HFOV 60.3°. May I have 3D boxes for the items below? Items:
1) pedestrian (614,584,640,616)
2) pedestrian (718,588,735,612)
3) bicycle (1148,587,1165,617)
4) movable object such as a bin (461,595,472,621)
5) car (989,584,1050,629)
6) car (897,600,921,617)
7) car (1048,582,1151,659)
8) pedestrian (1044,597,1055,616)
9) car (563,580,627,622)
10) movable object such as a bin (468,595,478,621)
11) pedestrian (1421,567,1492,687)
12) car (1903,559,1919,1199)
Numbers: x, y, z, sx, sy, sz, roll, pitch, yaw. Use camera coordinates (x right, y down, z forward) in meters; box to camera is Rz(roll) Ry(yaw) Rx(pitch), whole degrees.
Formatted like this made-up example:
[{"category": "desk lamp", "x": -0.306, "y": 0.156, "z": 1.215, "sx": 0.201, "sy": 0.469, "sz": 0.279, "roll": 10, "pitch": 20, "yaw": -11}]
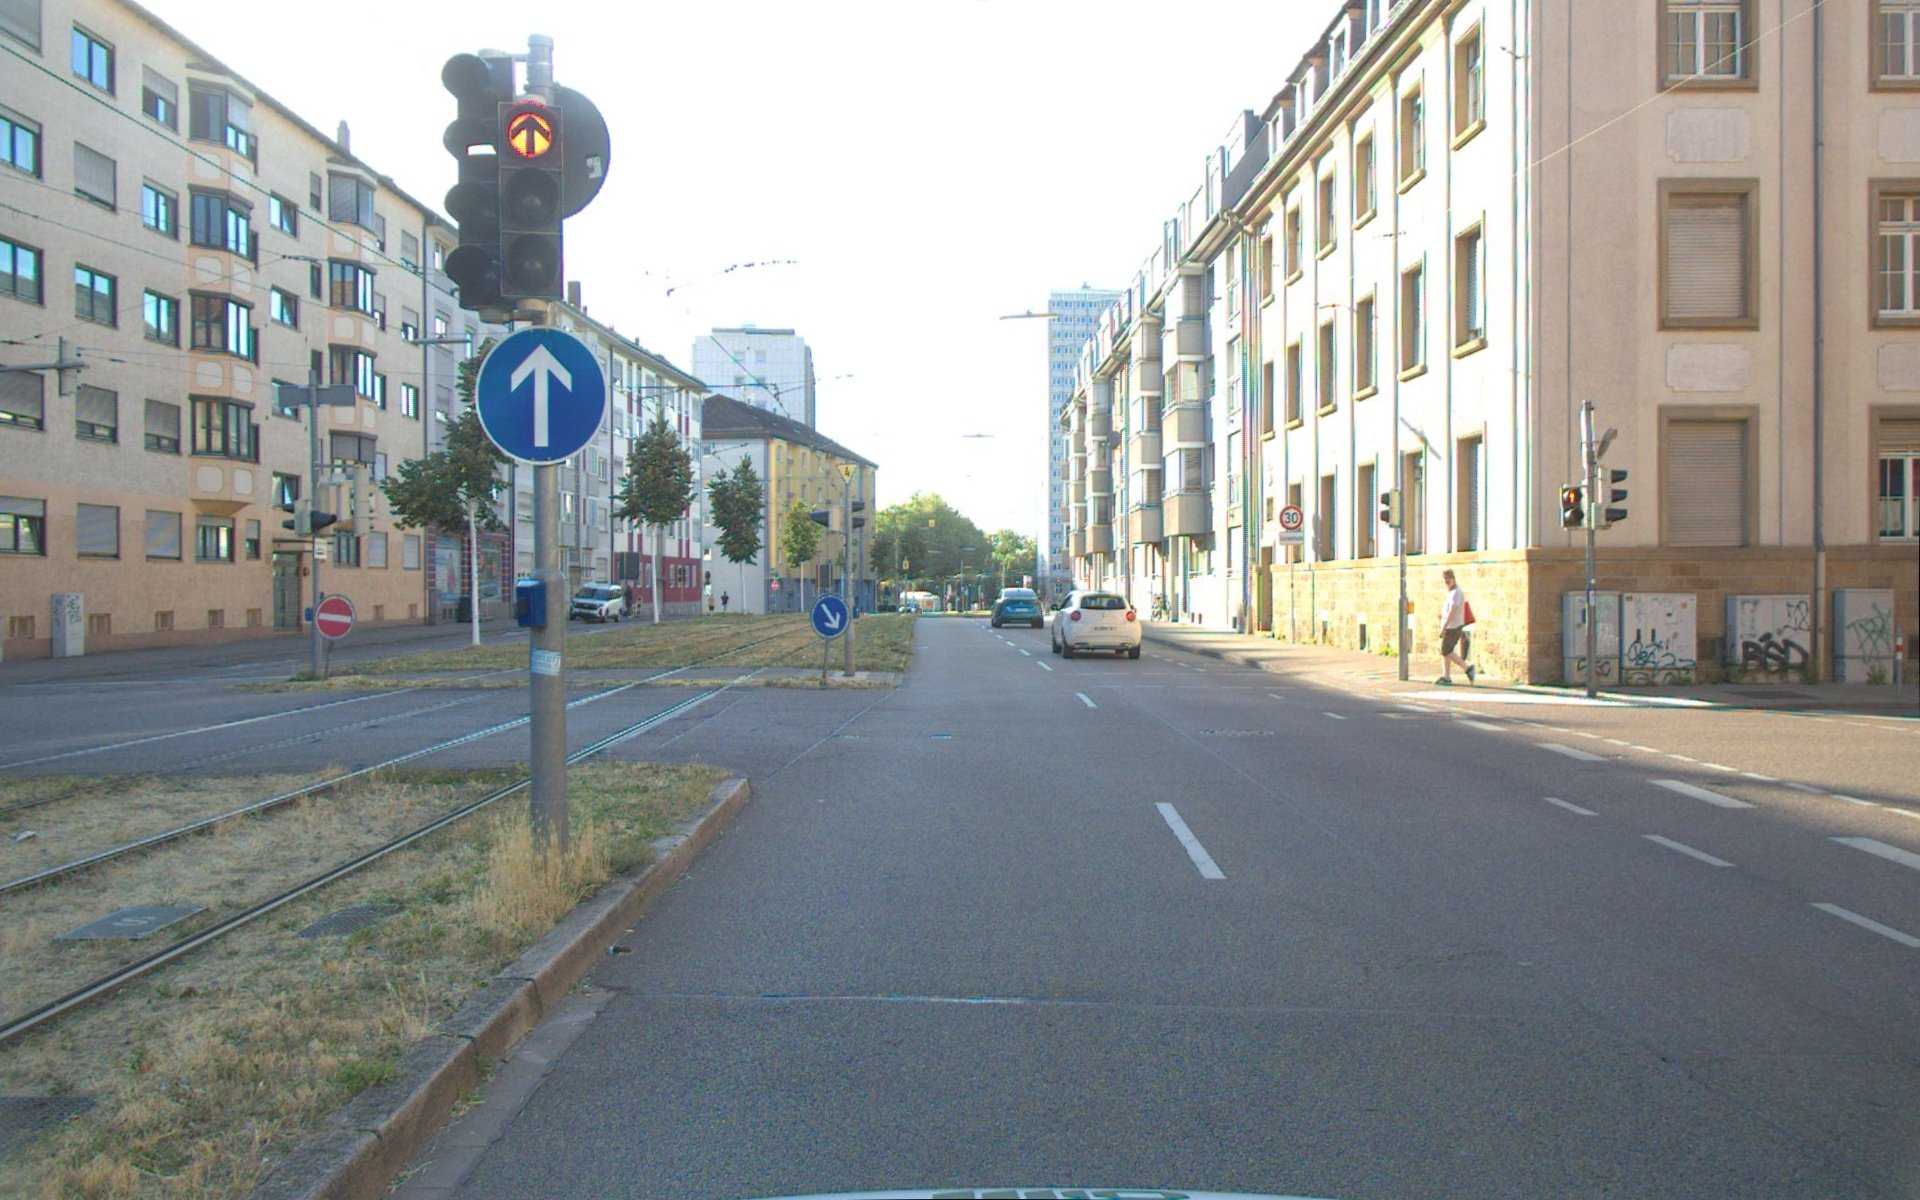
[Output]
[{"category": "pedestrian", "x": -18.746, "y": 0.011, "z": 93.156, "sx": 1.244, "sy": 1.791, "sz": 1.273, "roll": 1, "pitch": 0, "yaw": -4}, {"category": "pedestrian", "x": -16.691, "y": -0.003, "z": 118.178, "sx": 0.942, "sy": 1.699, "sz": 1.011, "roll": 1, "pitch": 0, "yaw": 4}, {"category": "bicycle", "x": 7.359, "y": 0.088, "z": 61.950, "sx": 0.376, "sy": 1.115, "sz": 1.503, "roll": -1, "pitch": 0, "yaw": -3}, {"category": "movable object such as a bin", "x": -20.266, "y": 0.339, "z": 67.947, "sx": 0.292, "sy": 1.054, "sz": 0.441, "roll": 1, "pitch": -1, "yaw": 1}, {"category": "car", "x": 2.168, "y": 0.225, "z": 61.523, "sx": 1.953, "sy": 1.581, "sz": 4.392, "roll": 1, "pitch": 0, "yaw": -2}, {"category": "car", "x": -5.423, "y": 0.901, "z": 176.099, "sx": 1.857, "sy": 1.662, "sz": 4.751, "roll": -1, "pitch": 0, "yaw": 7}, {"category": "car", "x": 3.053, "y": 0.435, "z": 36.950, "sx": 1.952, "sy": 1.591, "sz": 4.000, "roll": 1, "pitch": 0, "yaw": 0}, {"category": "pedestrian", "x": 5.784, "y": 0.426, "z": 106.900, "sx": 0.677, "sy": 1.256, "sz": 0.736, "roll": 1, "pitch": 0, "yaw": 0}, {"category": "car", "x": -17.908, "y": 0.044, "z": 81.343, "sx": 1.952, "sy": 1.958, "sz": 4.543, "roll": 1, "pitch": 0, "yaw": 3}, {"category": "movable object such as a bin", "x": -20.184, "y": 0.331, "z": 68.541, "sx": 0.292, "sy": 1.054, "sz": 0.441, "roll": 1, "pitch": -1, "yaw": -2}, {"category": "pedestrian", "x": 7.633, "y": 0.412, "z": 25.445, "sx": 0.818, "sy": 1.793, "sz": 0.824, "roll": 1, "pitch": -1, "yaw": -1}, {"category": "car", "x": 2.854, "y": 0.716, "z": 1.402, "sx": 1.663, "sy": 1.580, "sz": 4.225, "roll": 0, "pitch": 0, "yaw": -1}]
